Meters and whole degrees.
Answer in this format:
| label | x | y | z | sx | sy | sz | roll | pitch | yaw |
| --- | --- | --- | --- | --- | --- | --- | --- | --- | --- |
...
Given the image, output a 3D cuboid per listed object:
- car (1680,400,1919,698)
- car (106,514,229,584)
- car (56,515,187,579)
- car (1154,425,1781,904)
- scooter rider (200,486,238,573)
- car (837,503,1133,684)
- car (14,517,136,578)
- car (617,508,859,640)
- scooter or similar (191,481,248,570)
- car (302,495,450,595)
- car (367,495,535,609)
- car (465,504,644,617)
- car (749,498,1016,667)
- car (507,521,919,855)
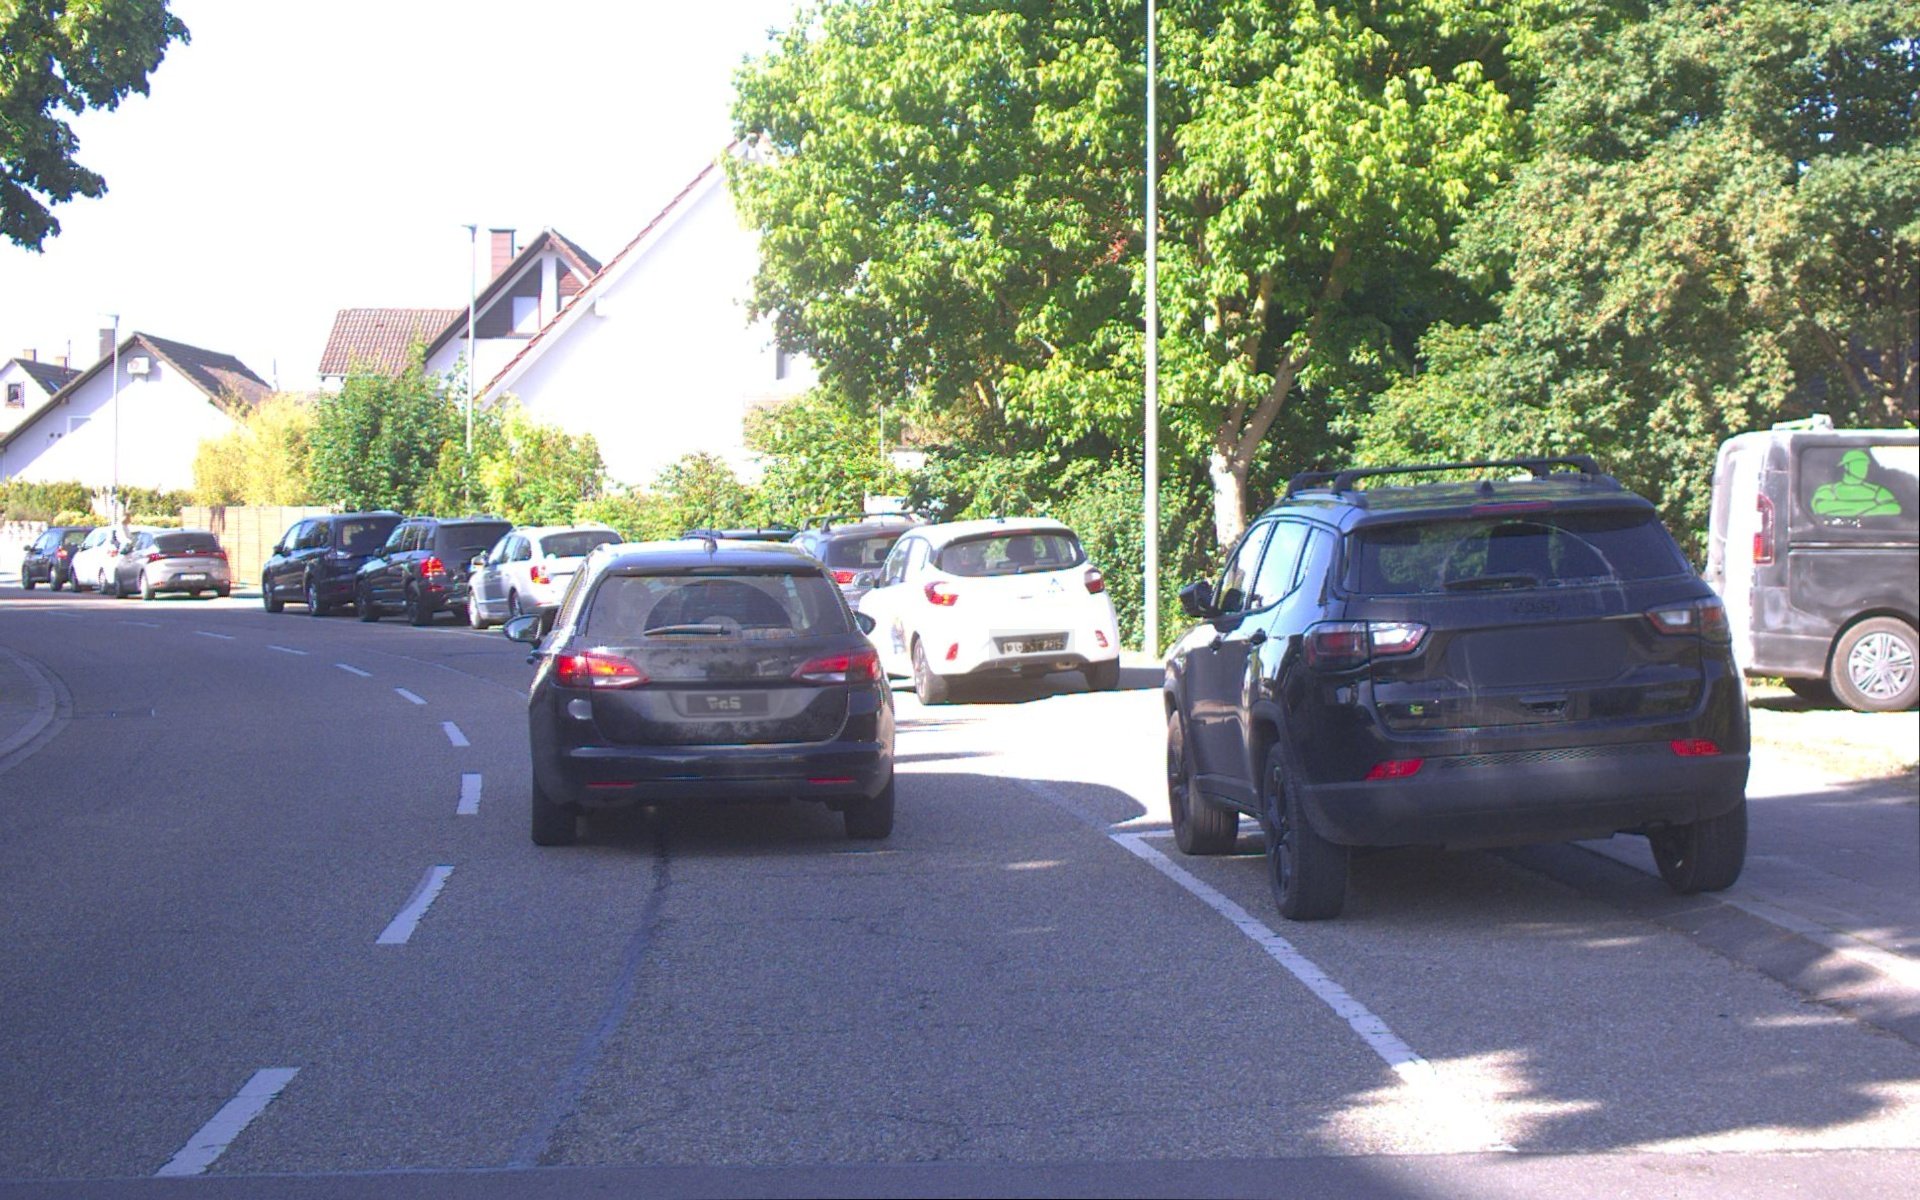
| label | x | y | z | sx | sy | sz | roll | pitch | yaw |
| --- | --- | --- | --- | --- | --- | --- | --- | --- | --- |
| car | 7.587 | -0.342 | 23.947 | 4.680 | 1.977 | 2.143 | 0 | 1 | 0 |
| car | -16.550 | -1.049 | 71.660 | 1.915 | 1.402 | 4.295 | 0 | 1 | -21 |
| car | -18.896 | -1.183 | 77.388 | 1.916 | 1.402 | 4.295 | 0 | 1 | -27 |
| car | 1.955 | 0.213 | 14.537 | 1.777 | 1.718 | 4.295 | 0 | 1 | -3 |
| scooter rider | -17.485 | -1.655 | 81.124 | 0.685 | 2.007 | 0.820 | 1 | -1 | -26 |
| car | 0.135 | -0.077 | 30.296 | 1.760 | 1.475 | 4.295 | 0 | 1 | -11 |
| car | -21.064 | -1.241 | 81.739 | 1.916 | 1.402 | 4.295 | 0 | 1 | -27 |
| car | -2.700 | -0.315 | 40.826 | 2.005 | 1.470 | 4.295 | 0 | 1 | -16 |
| scooter or similar | -17.480 | -1.734 | 81.110 | 0.685 | 2.007 | 2.962 | 1 | -1 | -25 |
| car | -10.155 | -0.948 | 59.535 | 1.902 | 1.660 | 4.192 | 0 | 1 | -18 |
| car | -8.050 | -0.748 | 54.058 | 2.005 | 1.718 | 4.295 | 0 | 1 | -17 |
| car | -5.827 | -0.560 | 49.035 | 1.819 | 1.529 | 4.260 | 0 | 1 | -17 |
| car | -0.860 | -0.187 | 34.816 | 1.911 | 1.595 | 4.295 | 0 | 1 | -12 |
| car | -1.405 | 0.380 | 17.898 | 1.761 | 1.486 | 4.292 | 2 | 1 | -9 |
